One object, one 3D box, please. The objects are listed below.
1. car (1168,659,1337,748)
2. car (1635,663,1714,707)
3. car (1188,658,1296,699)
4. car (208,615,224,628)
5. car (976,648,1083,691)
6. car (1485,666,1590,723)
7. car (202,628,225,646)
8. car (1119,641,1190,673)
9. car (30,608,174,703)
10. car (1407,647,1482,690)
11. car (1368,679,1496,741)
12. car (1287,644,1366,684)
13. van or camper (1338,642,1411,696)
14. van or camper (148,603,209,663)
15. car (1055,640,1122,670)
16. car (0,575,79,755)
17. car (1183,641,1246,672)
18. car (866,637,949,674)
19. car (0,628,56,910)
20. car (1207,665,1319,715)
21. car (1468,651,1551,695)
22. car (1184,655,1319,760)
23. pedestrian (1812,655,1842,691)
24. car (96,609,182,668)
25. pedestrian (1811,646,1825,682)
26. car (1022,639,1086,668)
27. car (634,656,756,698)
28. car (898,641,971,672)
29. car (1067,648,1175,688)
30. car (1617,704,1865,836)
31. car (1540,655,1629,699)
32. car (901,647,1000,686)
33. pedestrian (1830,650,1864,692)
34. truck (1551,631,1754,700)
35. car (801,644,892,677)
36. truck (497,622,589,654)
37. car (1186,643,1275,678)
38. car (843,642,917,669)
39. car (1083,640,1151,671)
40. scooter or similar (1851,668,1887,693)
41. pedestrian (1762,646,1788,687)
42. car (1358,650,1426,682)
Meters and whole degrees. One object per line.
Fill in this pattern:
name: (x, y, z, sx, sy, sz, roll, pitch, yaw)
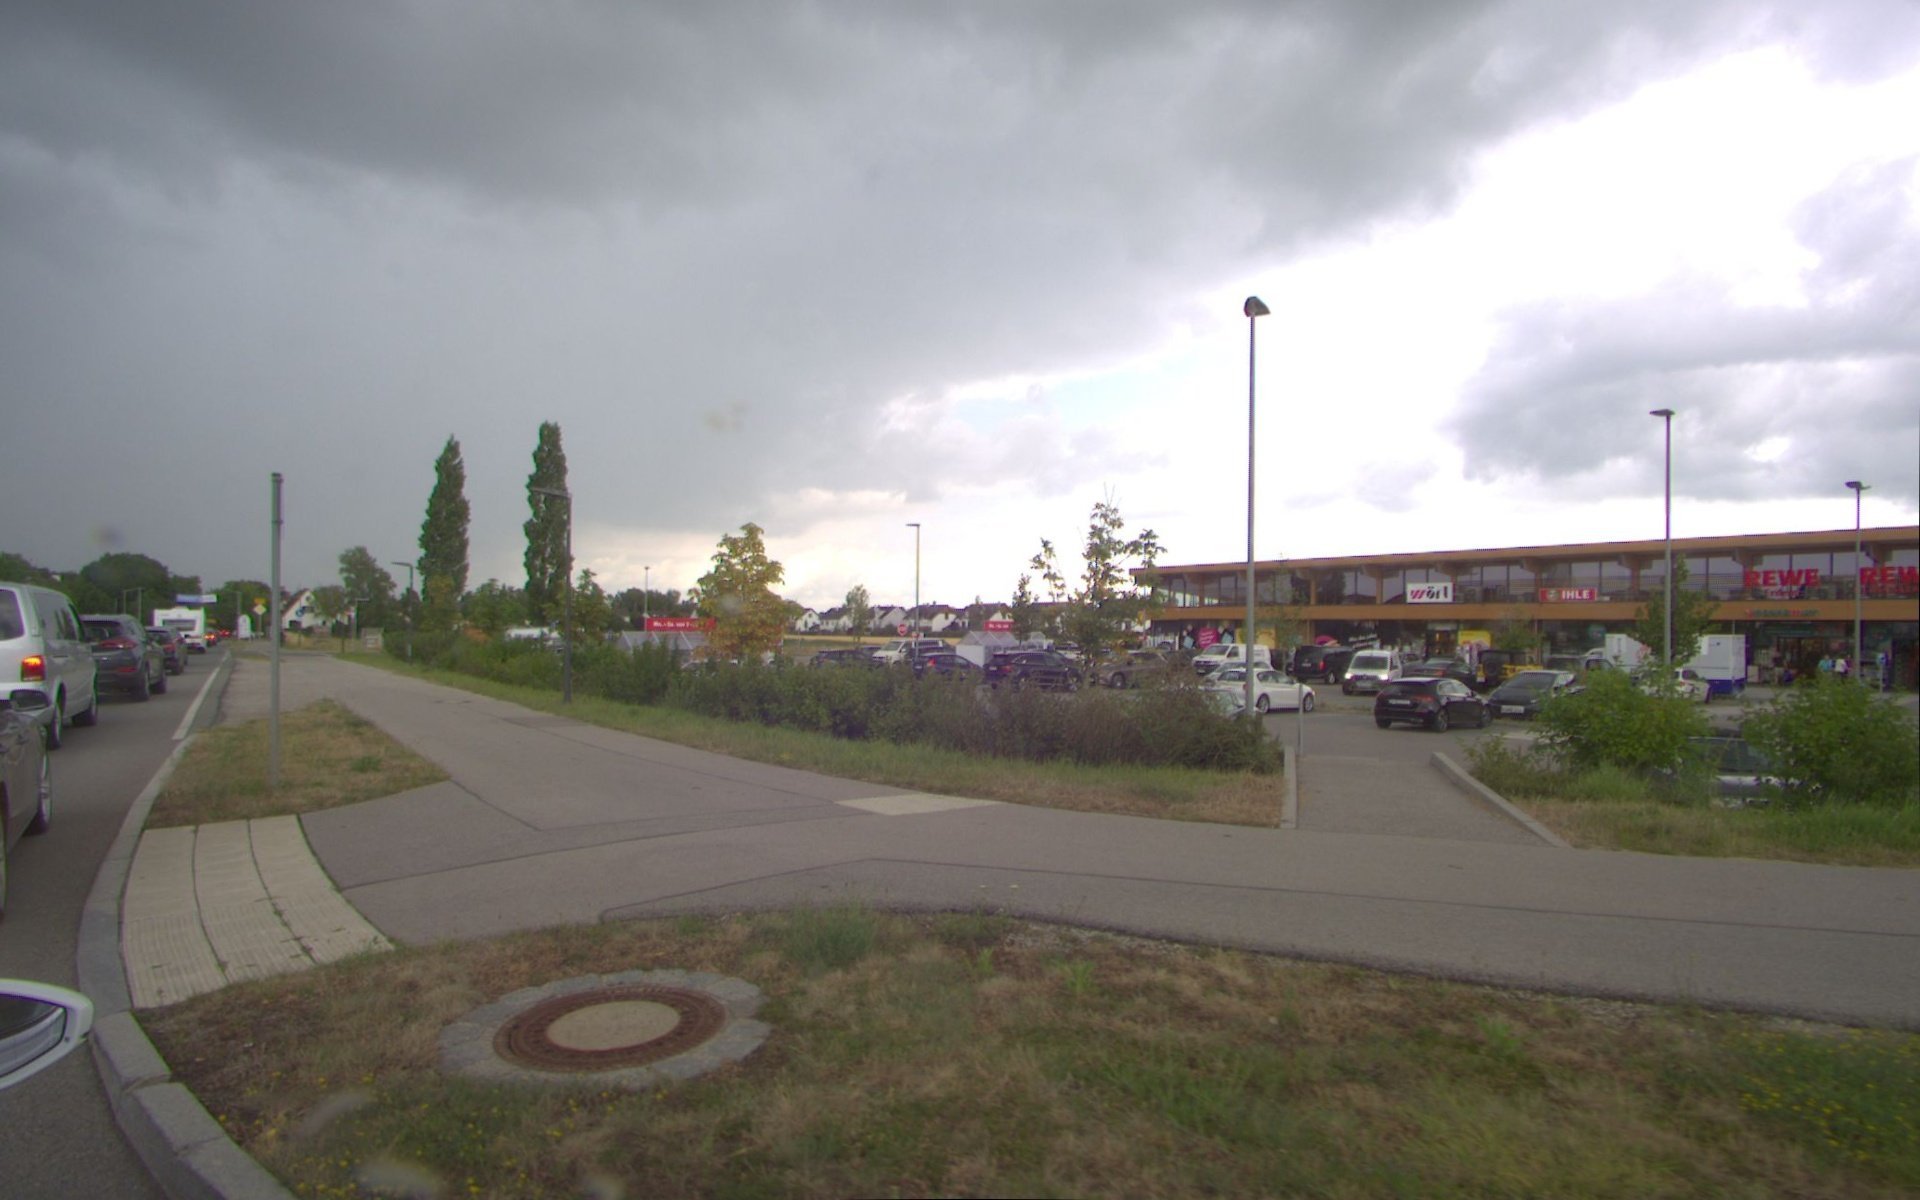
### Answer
car: (6.479, 2.264, 21.970, 3.967, 1.627, 1.772, 7, -2, -45)
car: (27.992, 3.281, 39.185, 3.959, 1.549, 1.716, 2, -2, -42)
car: (11.754, 3.215, 41.596, 4.732, 1.503, 1.890, 2, -2, -37)
car: (-134.346, 3.940, 180.843, 1.973, 2.240, 3.978, 2, -2, -31)
car: (2.979, 2.930, 42.359, 4.412, 1.727, 1.791, 3, -3, -37)
car: (18.091, 2.904, 31.310, 3.959, 1.573, 1.716, 2, -2, -42)
car: (-70.433, 3.514, 94.516, 1.598, 1.651, 3.592, 2, -2, -35)
car: (11.823, 3.467, 60.788, 3.946, 1.861, 1.988, 2, -2, -33)
car: (-16.685, 1.018, 19.649, 1.760, 1.639, 3.972, -1, -1, -36)
car: (22.590, 3.149, 46.614, 3.958, 1.878, 1.757, 2, -2, -41)
car: (13.216, 3.020, 27.982, 3.958, 1.416, 1.821, 2, -2, -41)
car: (18.869, 3.322, 51.530, 3.954, 1.860, 1.986, 5, -4, -36)
van or camper: (17.539, 2.842, 42.222, 1.742, 2.125, 4.776, 0, -2, 36)
van or camper: (-46.668, 2.018, 59.970, 2.602, 3.365, 6.774, 2, -3, -36)
car: (8.389, 3.561, 65.343, 3.946, 1.861, 1.988, 2, -2, -33)
car: (-12.078, 0.730, 12.151, 1.852, 1.959, 3.968, 2, -2, -39)
car: (16.345, 3.601, 64.288, 4.067, 1.918, 1.784, 2, -2, -37)
car: (-3.129, 3.319, 60.680, 1.978, 2.040, 5.081, 1, -1, 43)
car: (-6.065, 0.861, 5.185, 1.769, 1.409, 4.100, 1, -1, -38)
car: (10.031, 2.937, 33.023, 3.955, 1.503, 1.668, 3, -3, -41)
car: (24.410, 3.207, 44.426, 3.952, 1.878, 1.760, 2, -3, -37)
car: (4.294, 1.480, 14.407, 1.551, 1.221, 3.751, 1, -4, 21)
pedestrian: (41.674, 3.485, 48.136, 0.736, 1.679, 0.805, 0, -1, 4)
car: (-24.753, 1.150, 30.301, 1.760, 1.638, 3.972, 1, -2, -36)
pedestrian: (47.738, 3.573, 55.720, 0.572, 1.974, 0.521, 0, -1, 42)
car: (6.380, 3.600, 67.589, 3.947, 1.861, 1.988, 2, -2, -33)
car: (-10.280, 2.949, 38.958, 4.195, 1.458, 1.986, 2, -2, -36)
car: (-1.475, 3.284, 57.845, 3.952, 1.727, 1.704, 3, -3, -37)
car: (7.398, 3.076, 45.788, 4.930, 1.685, 1.986, 2, -2, -37)
car: (11.066, 2.334, 14.507, 1.552, 1.389, 3.730, 0, -3, 16)
car: (25.856, 3.142, 41.432, 4.073, 1.746, 1.839, 3, -4, -38)
car: (-0.434, 3.113, 47.408, 4.364, 1.686, 1.986, 2, -2, -36)
pedestrian: (41.752, 3.344, 47.136, 0.911, 1.921, 0.794, 2, -3, 7)
truck: (31.480, 2.888, 45.778, 2.945, 2.843, 7.195, 2, -2, -41)
car: (-6.095, 3.235, 54.071, 4.516, 1.686, 1.986, 2, -2, -36)
truck: (-25.320, 2.333, 60.849, 4.761, 1.896, 1.983, 3, -3, -41)
car: (15.009, 3.327, 55.420, 5.240, 1.854, 1.986, 3, -3, -36)
car: (-4.980, 3.437, 62.615, 4.271, 1.598, 1.756, 2, -2, -35)
car: (9.947, 3.498, 63.208, 3.948, 1.861, 1.988, 2, -3, -34)
scooter or similar: (42.682, 3.771, 47.014, 0.983, 1.140, 0.794, 2, -3, 7)
pedestrian: (41.655, 3.395, 51.163, 0.797, 2.039, 0.924, 1, -1, -42)
car: (23.538, 3.582, 54.483, 4.180, 1.632, 1.753, 3, -3, -40)
